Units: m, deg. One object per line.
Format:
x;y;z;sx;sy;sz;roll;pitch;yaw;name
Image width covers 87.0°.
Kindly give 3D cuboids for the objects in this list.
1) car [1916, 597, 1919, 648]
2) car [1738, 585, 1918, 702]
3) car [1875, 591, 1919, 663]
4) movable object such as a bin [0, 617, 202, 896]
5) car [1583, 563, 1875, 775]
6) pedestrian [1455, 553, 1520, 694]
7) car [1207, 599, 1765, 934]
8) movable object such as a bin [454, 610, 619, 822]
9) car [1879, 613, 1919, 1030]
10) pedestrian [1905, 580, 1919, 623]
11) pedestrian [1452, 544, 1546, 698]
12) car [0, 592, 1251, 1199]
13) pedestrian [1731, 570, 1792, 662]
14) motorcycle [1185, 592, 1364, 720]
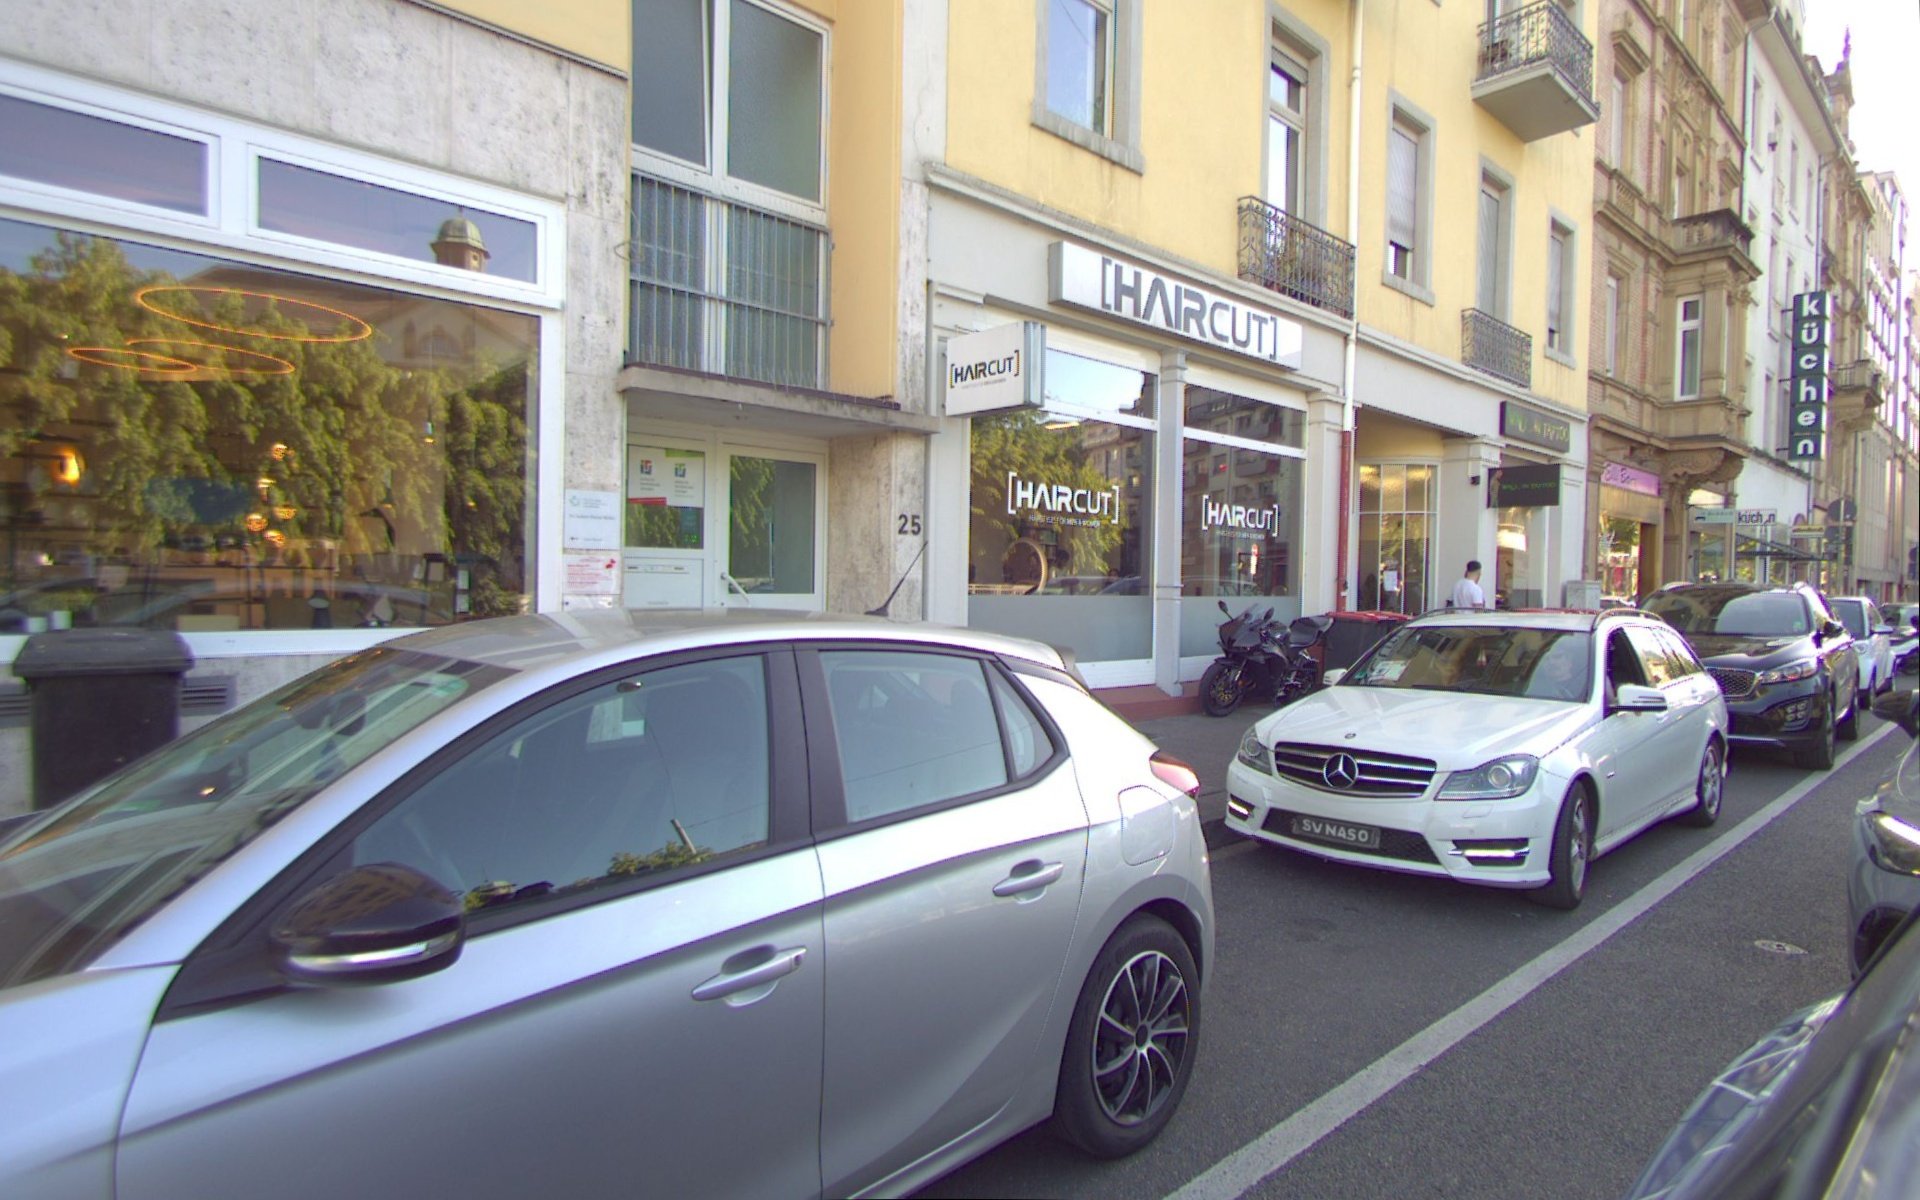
26.610;0.578;26.934;3.306;1.334;1.459;-1;0;-42;car
12.772;0.551;14.858;2.945;1.542;1.582;-1;0;-41;car
21.898;0.570;22.815;3.736;1.509;1.691;-1;0;-45;car
-3.672;0.603;4.328;0.639;1.036;0.737;0;0;-41;movable object such as a bin
8.011;0.534;10.372;4.338;1.711;1.802;-1;0;-45;car
7.240;0.305;13.879;0.627;1.859;0.760;0;0;41;pedestrian
3.534;0.712;6.393;4.301;1.389;1.671;-1;0;-41;car
-2.325;0.585;5.542;0.639;1.036;0.737;0;0;-41;movable object such as a bin
5.399;0.753;4.381;4.397;1.385;1.767;-1;1;-43;car
40.508;0.066;42.739;0.809;1.782;0.825;0;0;-42;pedestrian
6.863;0.258;12.927;0.961;1.900;0.532;0;0;18;pedestrian
-1.004;0.719;2.312;3.625;1.455;1.585;-1;0;-43;car
15.723;0.300;19.850;0.806;1.741;0.835;0;0;-43;pedestrian
3.302;0.527;10.509;2.073;1.144;0.735;-1;5;-41;motorcycle
